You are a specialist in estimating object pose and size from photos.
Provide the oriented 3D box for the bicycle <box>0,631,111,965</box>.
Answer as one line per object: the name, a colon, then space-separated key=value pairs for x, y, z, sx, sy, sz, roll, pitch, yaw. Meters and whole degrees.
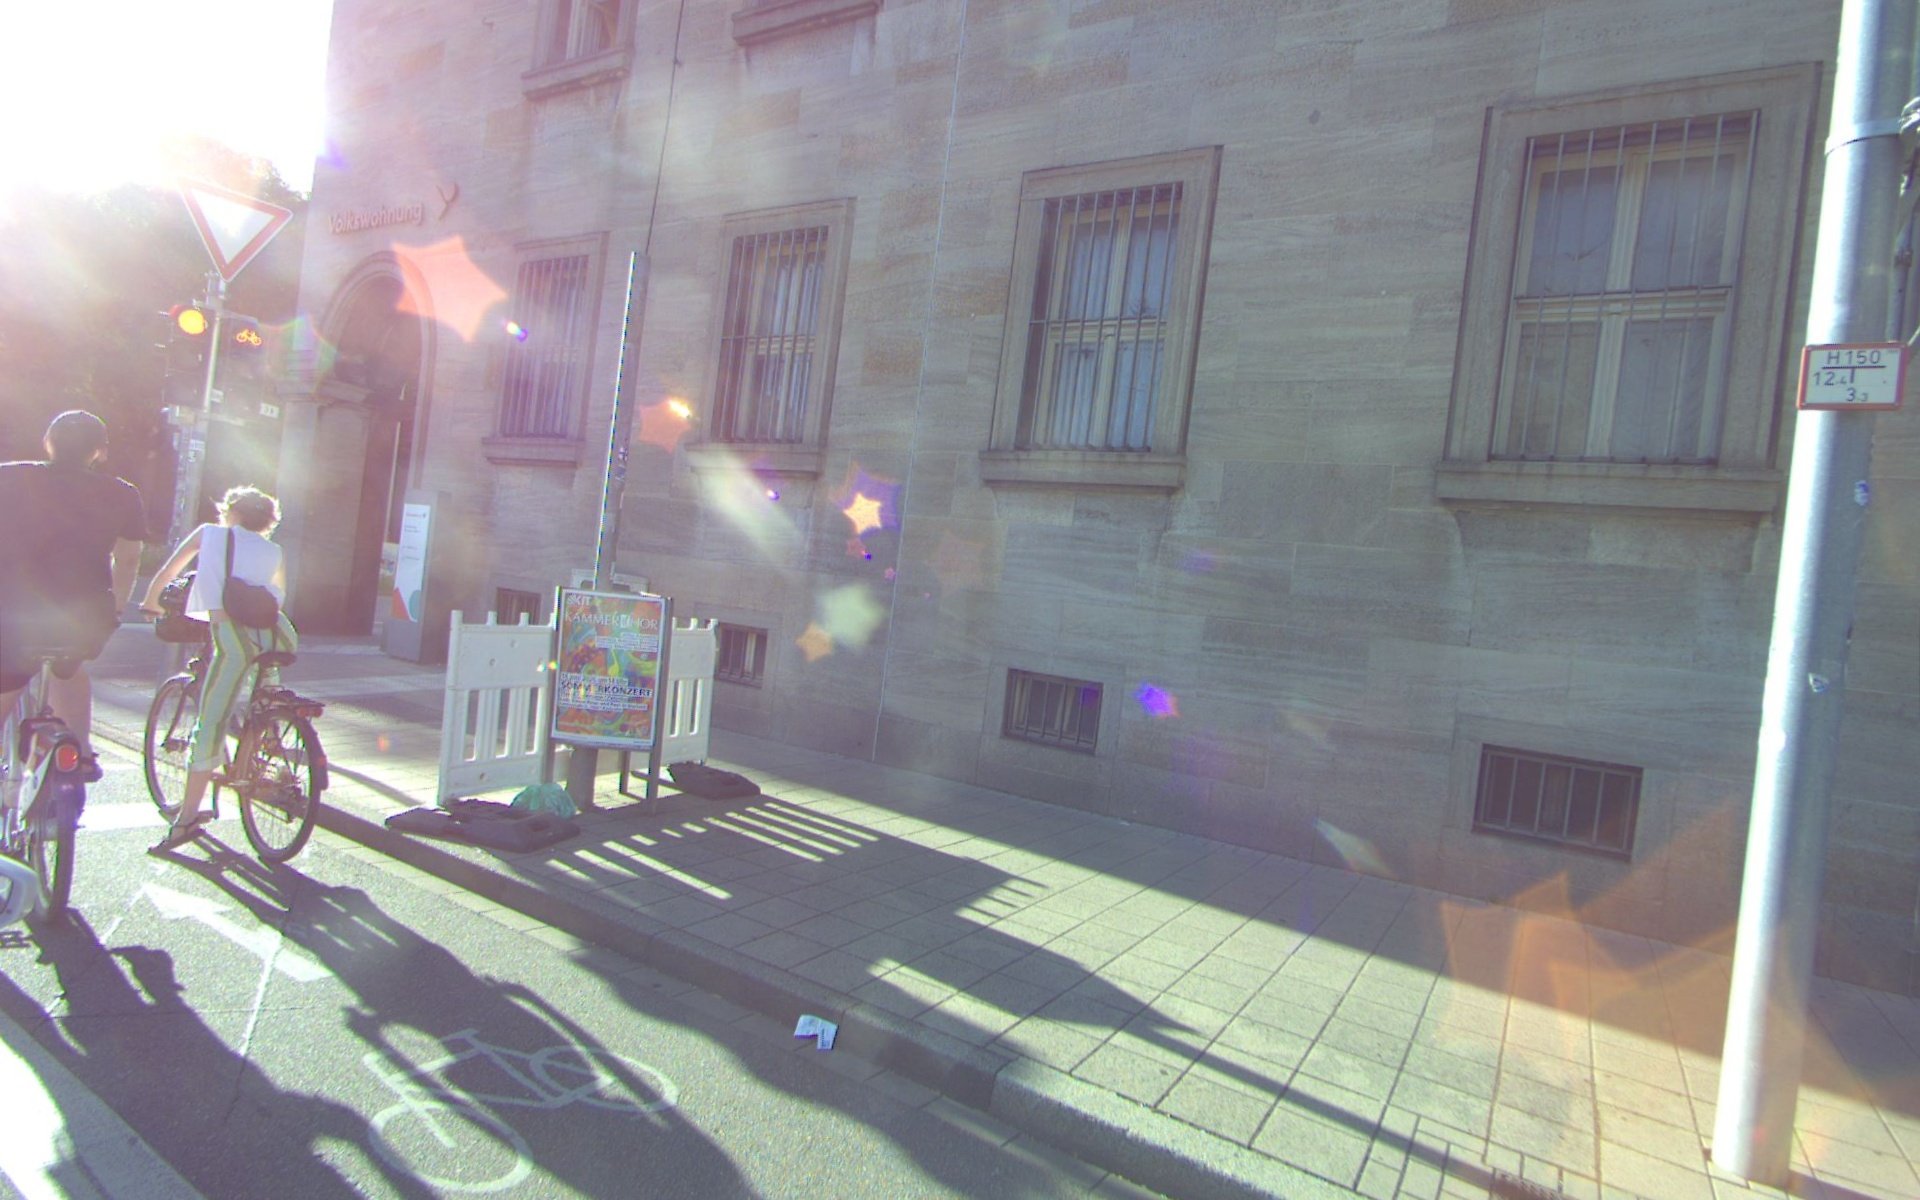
bicycle: x=-3.838 y=0.673 z=3.962 sx=1.923 sy=0.916 sz=0.388 roll=7 pitch=0 yaw=41

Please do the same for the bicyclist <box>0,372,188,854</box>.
bicyclist: x=-3.540 y=0.045 z=3.850 sx=0.647 sy=1.698 sz=0.669 roll=7 pitch=1 yaw=40

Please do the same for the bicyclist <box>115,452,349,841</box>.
bicyclist: x=-3.514 y=0.191 z=4.852 sx=0.845 sy=1.700 sz=0.522 roll=7 pitch=1 yaw=35

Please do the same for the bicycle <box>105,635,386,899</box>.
bicycle: x=-3.543 y=0.733 z=4.914 sx=1.920 sy=0.887 sz=0.427 roll=7 pitch=0 yaw=35
